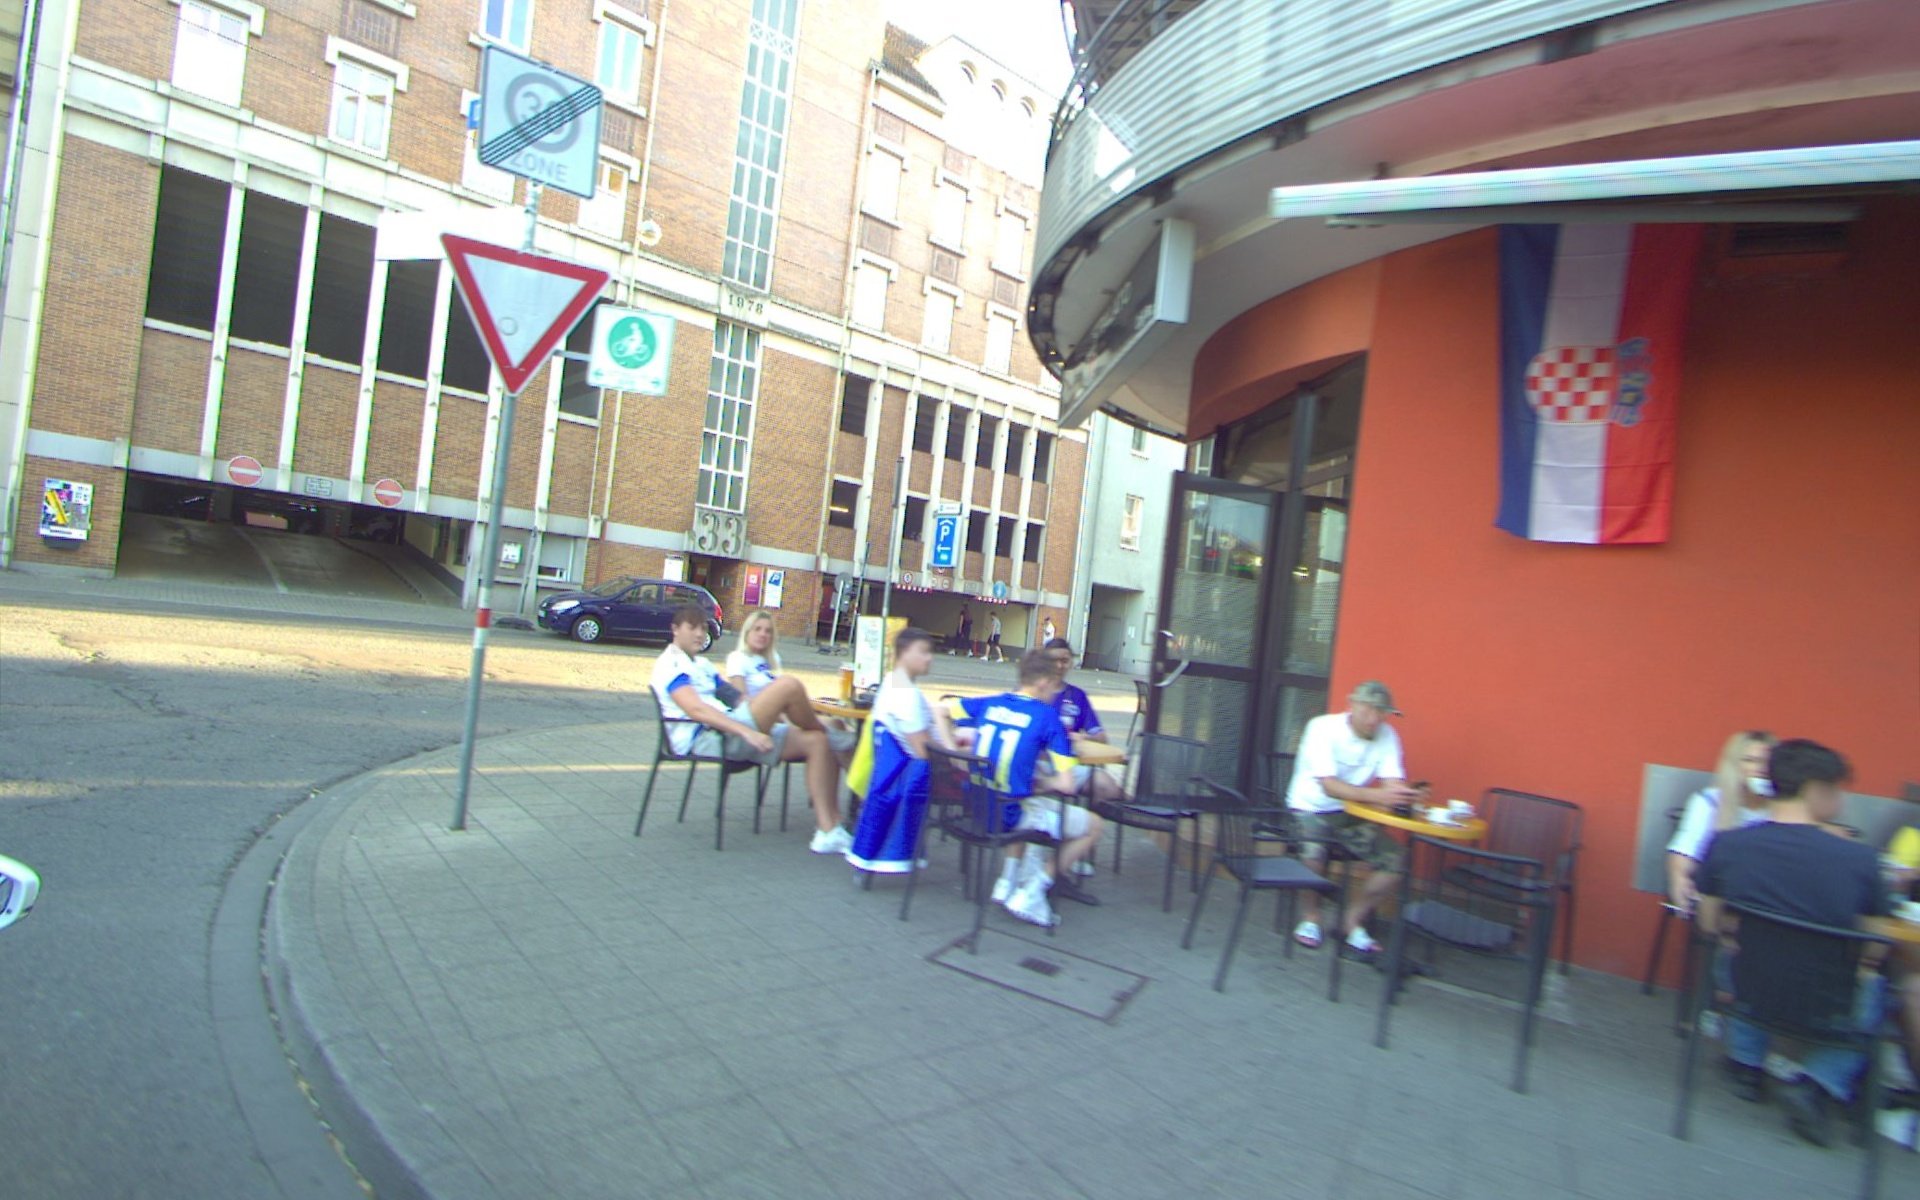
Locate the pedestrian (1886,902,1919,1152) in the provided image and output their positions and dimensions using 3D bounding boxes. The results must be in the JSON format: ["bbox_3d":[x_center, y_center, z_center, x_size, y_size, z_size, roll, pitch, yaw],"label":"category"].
[{"bbox_3d":[3.545,1.103,3.085,0.687,1.548,0.649,7,4,23],"label":"pedestrian"}]

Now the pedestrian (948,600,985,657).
[{"bbox_3d":[0.223,1.003,34.983,0.881,1.855,0.636,7,0,28],"label":"pedestrian"}]

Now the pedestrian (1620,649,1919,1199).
[{"bbox_3d":[2.766,0.995,3.279,0.746,1.557,0.713,7,4,23],"label":"pedestrian"}]

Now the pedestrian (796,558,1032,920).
[{"bbox_3d":[-0.222,0.629,4.879,0.680,1.555,0.710,8,1,44],"label":"pedestrian"}]

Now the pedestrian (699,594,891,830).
[{"bbox_3d":[-0.990,0.663,6.223,0.949,1.297,0.686,5,0,2],"label":"pedestrian"}]

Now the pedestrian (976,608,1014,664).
[{"bbox_3d":[1.205,1.228,34.368,0.881,1.771,0.674,7,0,28],"label":"pedestrian"}]

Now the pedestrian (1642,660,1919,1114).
[{"bbox_3d":[3.302,1.064,4.057,0.643,1.556,0.674,7,2,25],"label":"pedestrian"}]

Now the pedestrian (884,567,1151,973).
[{"bbox_3d":[0.263,0.674,4.477,0.838,1.557,0.712,7,4,29],"label":"pedestrian"}]

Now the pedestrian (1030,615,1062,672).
[{"bbox_3d":[2.928,1.496,34.304,0.668,1.850,0.674,7,0,28],"label":"pedestrian"}]

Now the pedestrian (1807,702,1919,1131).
[{"bbox_3d":[3.948,1.211,3.845,0.769,1.522,0.769,7,0,25],"label":"pedestrian"}]

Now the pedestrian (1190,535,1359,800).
[{"bbox_3d":[2.634,0.551,8.417,0.843,2.038,0.907,7,0,41],"label":"pedestrian"}]

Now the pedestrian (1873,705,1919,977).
[{"bbox_3d":[6.850,1.662,6.839,0.606,1.798,0.612,7,0,19],"label":"pedestrian"}]

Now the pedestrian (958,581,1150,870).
[{"bbox_3d":[0.543,0.728,6.085,0.838,1.554,0.714,8,-1,-8],"label":"pedestrian"}]

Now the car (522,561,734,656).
[{"bbox_3d":[-7.407,0.208,22.584,3.970,1.538,1.979,9,-1,-39],"label":"car"}]

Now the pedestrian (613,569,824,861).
[{"bbox_3d":[-1.274,0.587,5.474,0.823,1.399,0.771,6,0,1],"label":"pedestrian"}]

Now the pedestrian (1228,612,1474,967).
[{"bbox_3d":[1.904,0.891,4.927,0.745,1.554,0.643,8,-1,-30],"label":"pedestrian"}]

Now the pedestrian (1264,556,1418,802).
[{"bbox_3d":[3.423,0.692,9.028,0.850,2.038,0.811,6,-1,42],"label":"pedestrian"}]
